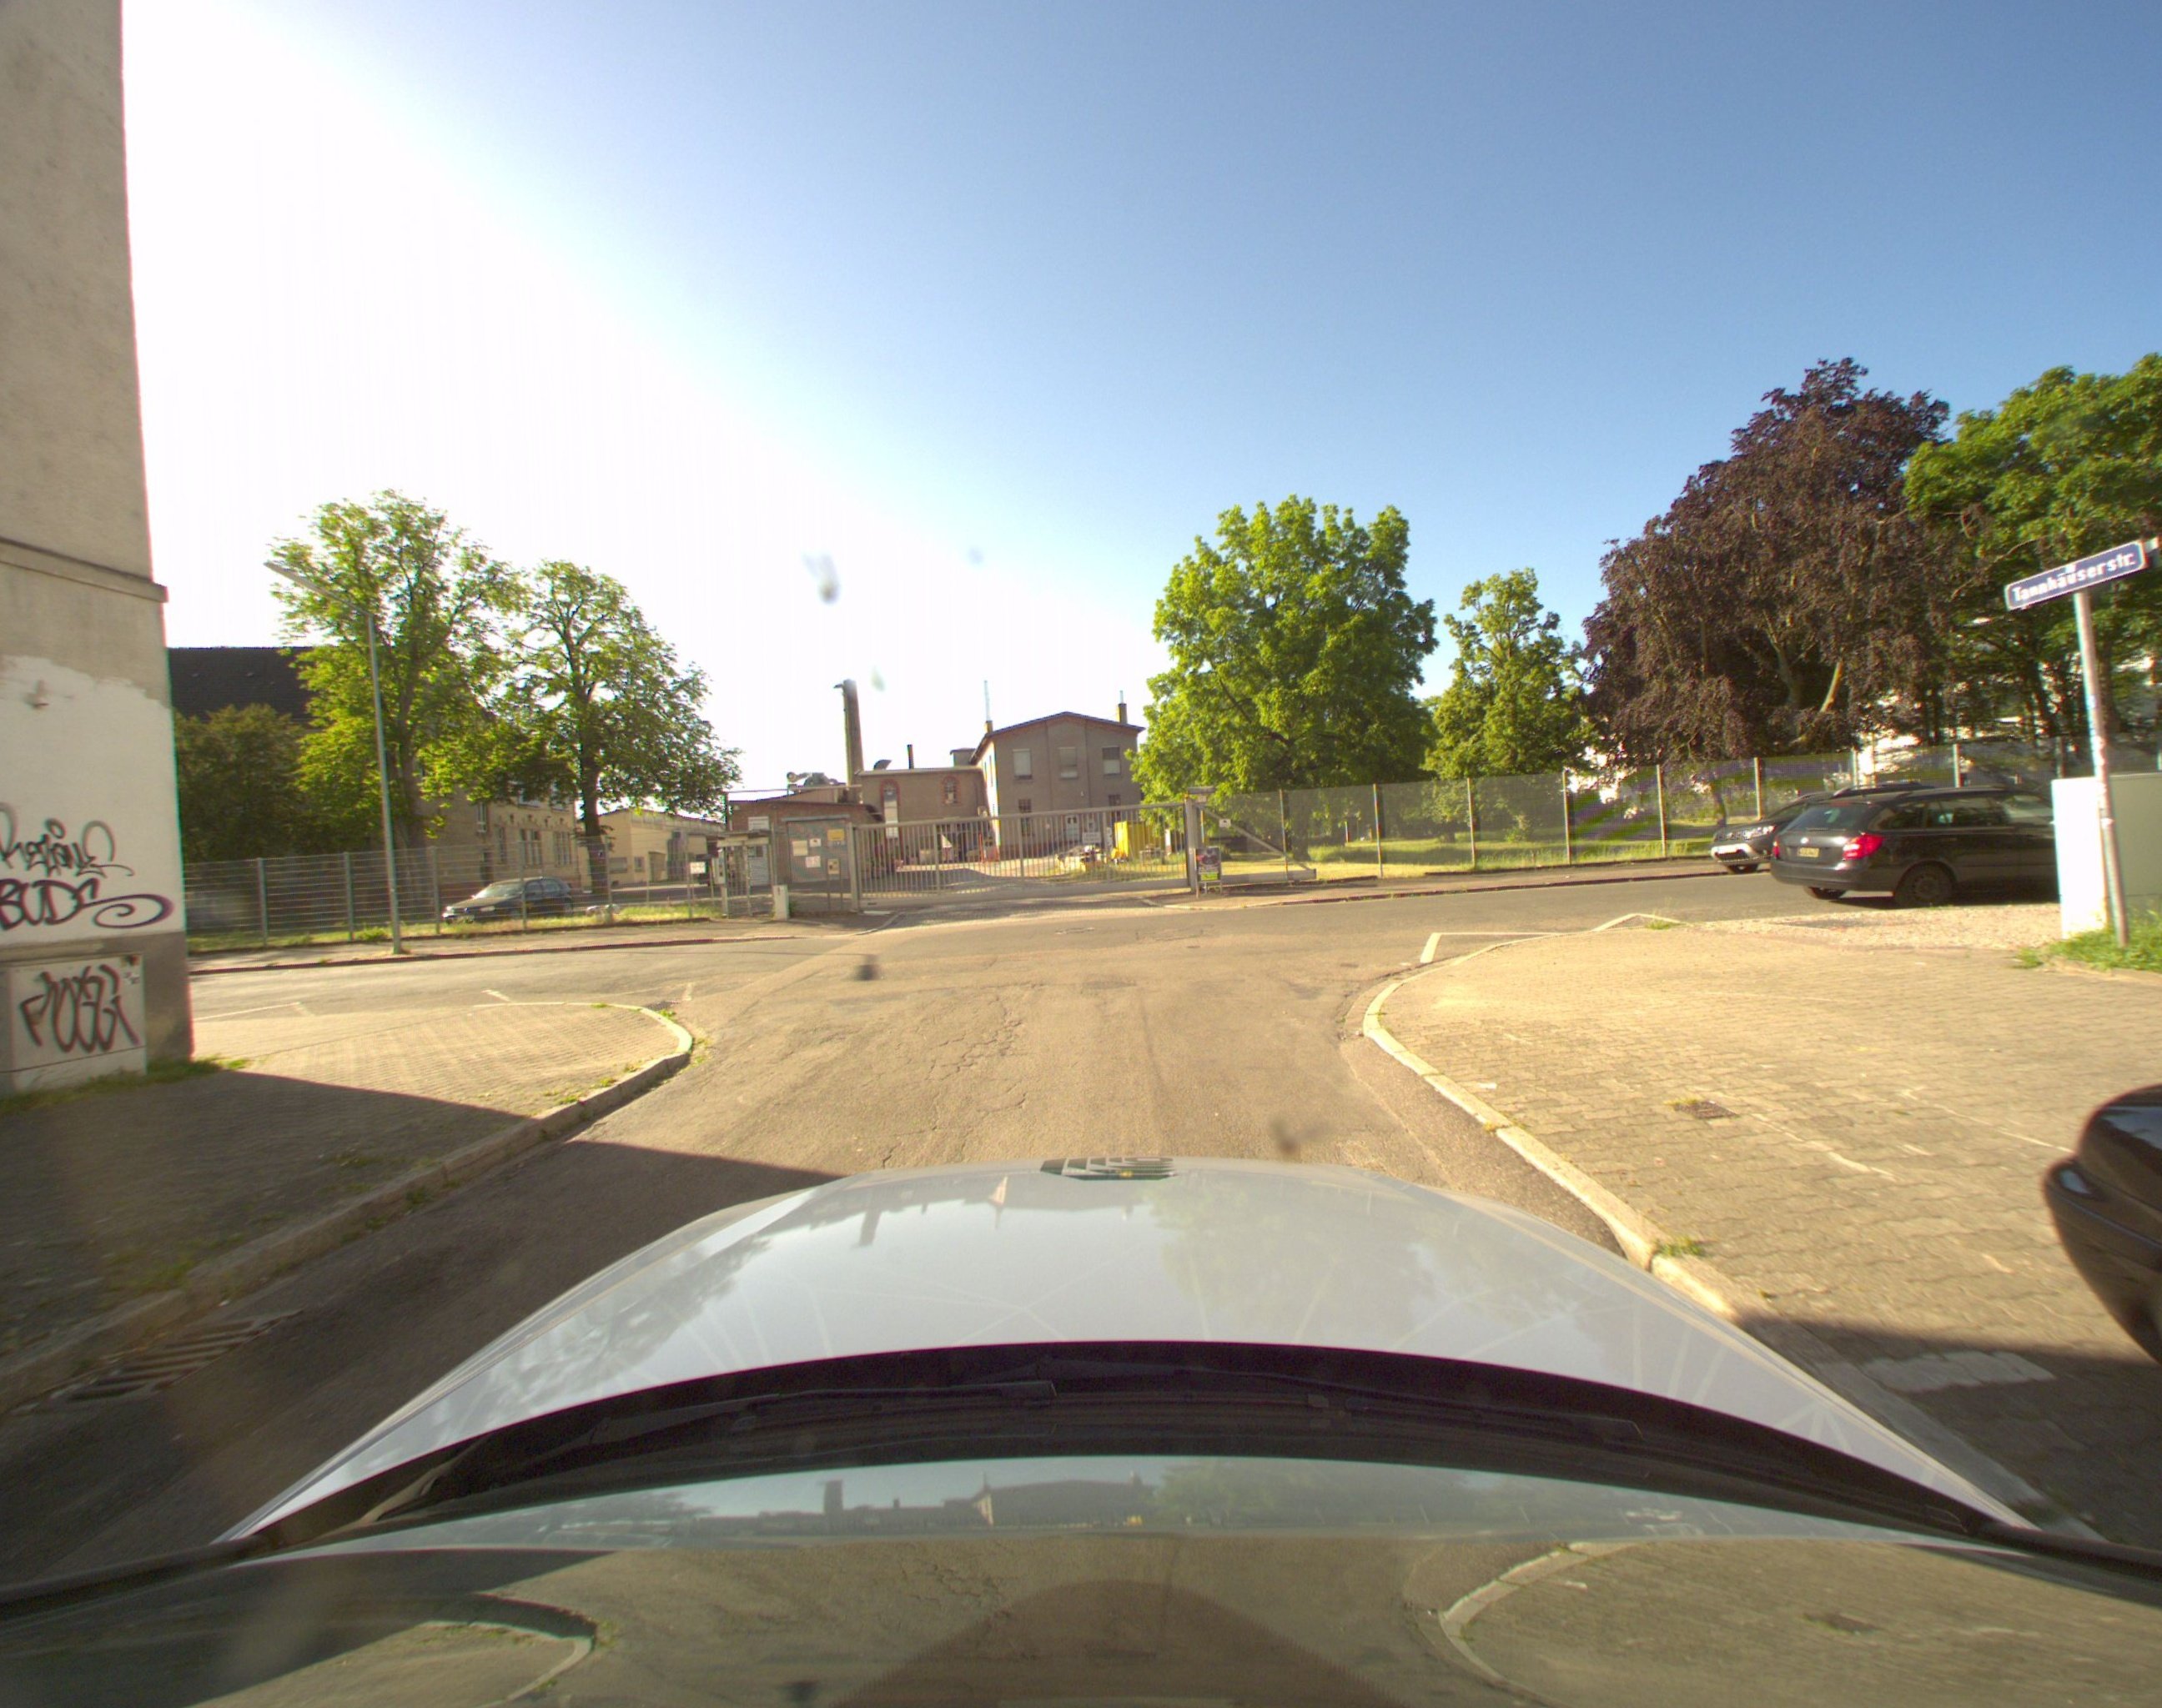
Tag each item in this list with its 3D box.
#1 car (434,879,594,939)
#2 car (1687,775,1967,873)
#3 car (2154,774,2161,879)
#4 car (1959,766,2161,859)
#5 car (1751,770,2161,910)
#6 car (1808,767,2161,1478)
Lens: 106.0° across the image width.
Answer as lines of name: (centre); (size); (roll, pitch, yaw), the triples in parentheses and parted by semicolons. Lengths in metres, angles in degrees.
car: (-17.412, 1.624, 25.299); (1.986, 1.420, 4.002); (-4, 1, 2)
car: (15.488, -0.580, 17.090); (4.135, 1.664, 1.718); (-3, -3, 1)
car: (17.230, -0.489, 10.802); (3.771, 1.484, 1.611); (-3, 1, 1)
car: (20.872, -0.849, 16.812); (3.590, 1.643, 1.569); (-3, -3, 1)
car: (11.763, -0.185, 10.950); (4.055, 1.548, 1.624); (-3, 0, 2)
car: (2.957, 0.484, 0.286); (1.791, 1.415, 4.052); (-6, 0, 2)
